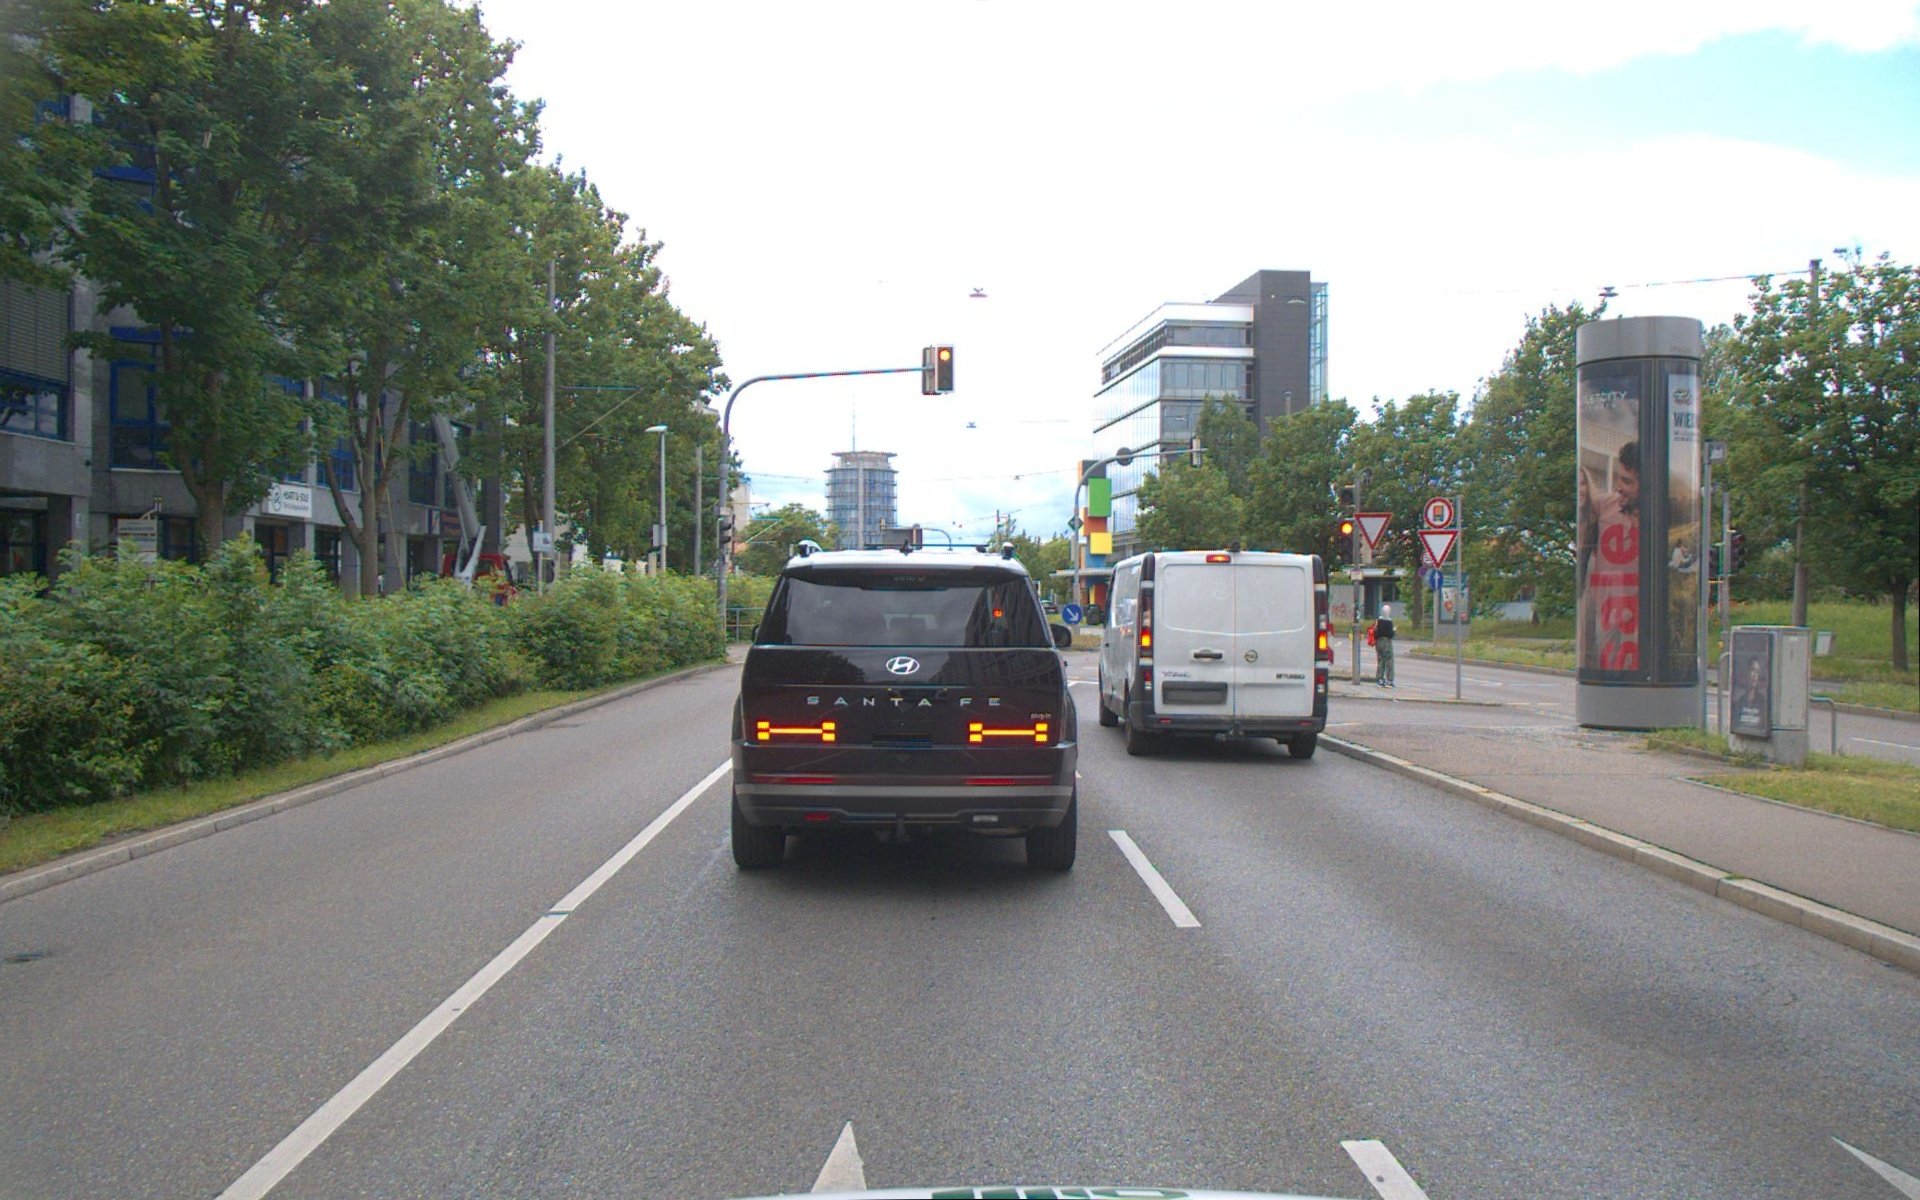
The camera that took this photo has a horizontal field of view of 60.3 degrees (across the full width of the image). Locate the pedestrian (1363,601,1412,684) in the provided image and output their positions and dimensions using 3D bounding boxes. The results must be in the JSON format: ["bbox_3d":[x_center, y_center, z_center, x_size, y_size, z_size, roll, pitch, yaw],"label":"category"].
[{"bbox_3d":[8.507,0.843,32.918,0.733,1.612,0.565,2,0,-41],"label":"pedestrian"}]

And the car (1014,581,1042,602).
[{"bbox_3d":[5.645,-0.712,137.975,1.954,1.713,3.997,1,0,-4],"label":"car"}]

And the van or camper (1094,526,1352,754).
[{"bbox_3d":[2.586,0.353,17.378,1.953,2.049,4.652,1,0,0],"label":"van or camper"}]

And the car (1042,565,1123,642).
[{"bbox_3d":[3.391,0.114,46.550,1.953,2.049,4.000,1,0,0],"label":"car"}]

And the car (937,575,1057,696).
[{"bbox_3d":[0.560,0.531,26.299,1.739,1.747,4.338,1,0,1],"label":"car"}]

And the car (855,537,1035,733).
[{"bbox_3d":[-0.200,0.355,19.213,1.876,2.038,3.879,0,0,-1],"label":"car"}]

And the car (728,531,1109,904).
[{"bbox_3d":[-0.234,0.557,9.901,1.831,1.791,3.879,0,0,-1],"label":"car"}]
